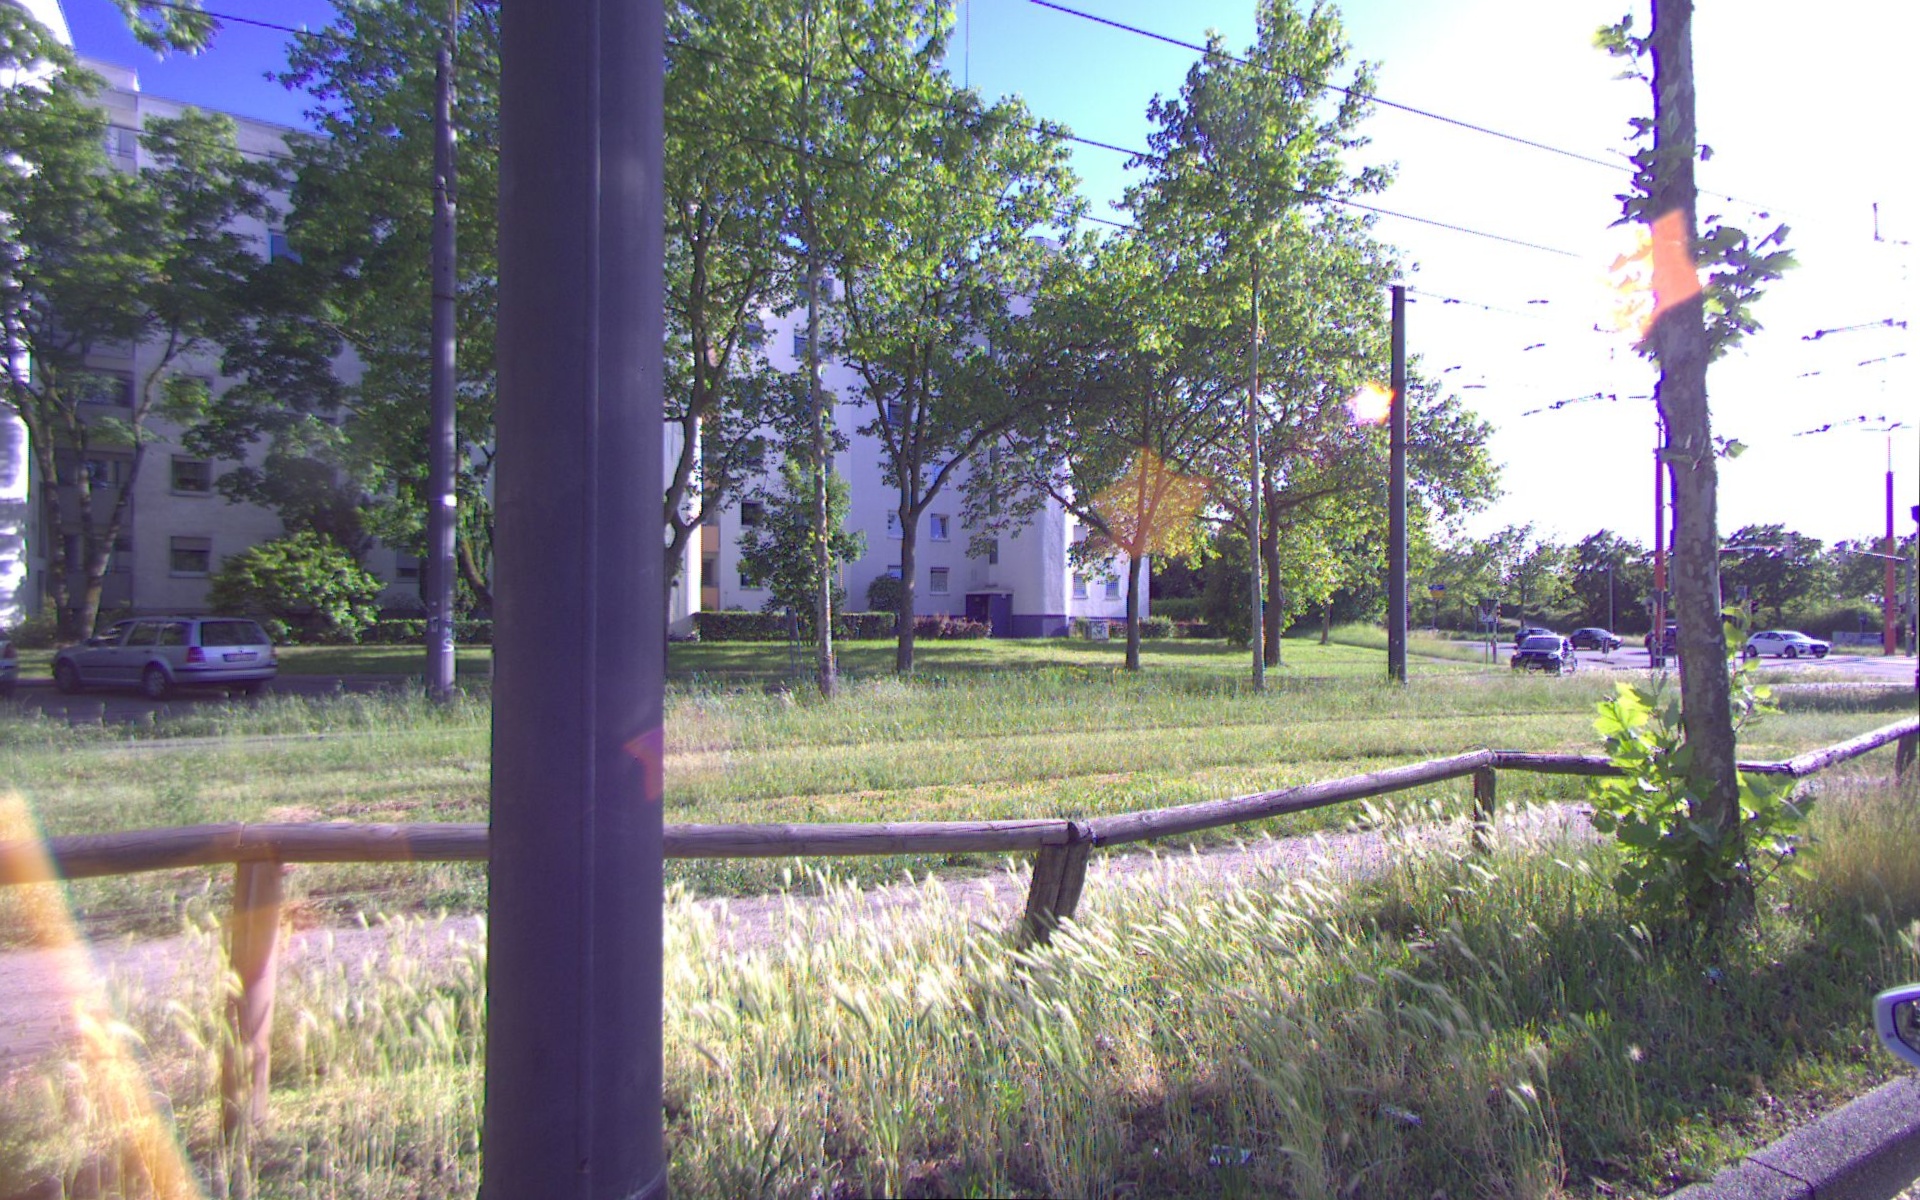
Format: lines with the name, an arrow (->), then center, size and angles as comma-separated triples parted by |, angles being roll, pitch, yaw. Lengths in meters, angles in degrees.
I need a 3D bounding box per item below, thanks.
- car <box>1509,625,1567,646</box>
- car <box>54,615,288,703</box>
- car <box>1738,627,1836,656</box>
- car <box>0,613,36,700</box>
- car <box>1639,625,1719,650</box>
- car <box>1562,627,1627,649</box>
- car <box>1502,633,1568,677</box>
car -> 44.821, 2.745, 77.943 | 1.877, 1.483, 4.239 | 1, -1, -3
car -> -14.486, 1.030, 18.481 | 3.609, 1.452, 1.732 | 0, -1, 20
car -> 45.813, 2.298, 55.780 | 1.877, 1.483, 4.222 | 1, -1, -2
car -> -17.931, 0.931, 17.137 | 3.609, 1.452, 1.703 | 0, -1, 20
car -> 45.582, 2.376, 63.820 | 1.877, 1.483, 4.373 | 1, -1, -2
car -> 44.999, 2.664, 71.365 | 1.877, 1.483, 4.054 | 1, -1, -3
car -> 21.044, 1.967, 36.723 | 1.796, 1.439, 3.746 | 0, -1, 34
